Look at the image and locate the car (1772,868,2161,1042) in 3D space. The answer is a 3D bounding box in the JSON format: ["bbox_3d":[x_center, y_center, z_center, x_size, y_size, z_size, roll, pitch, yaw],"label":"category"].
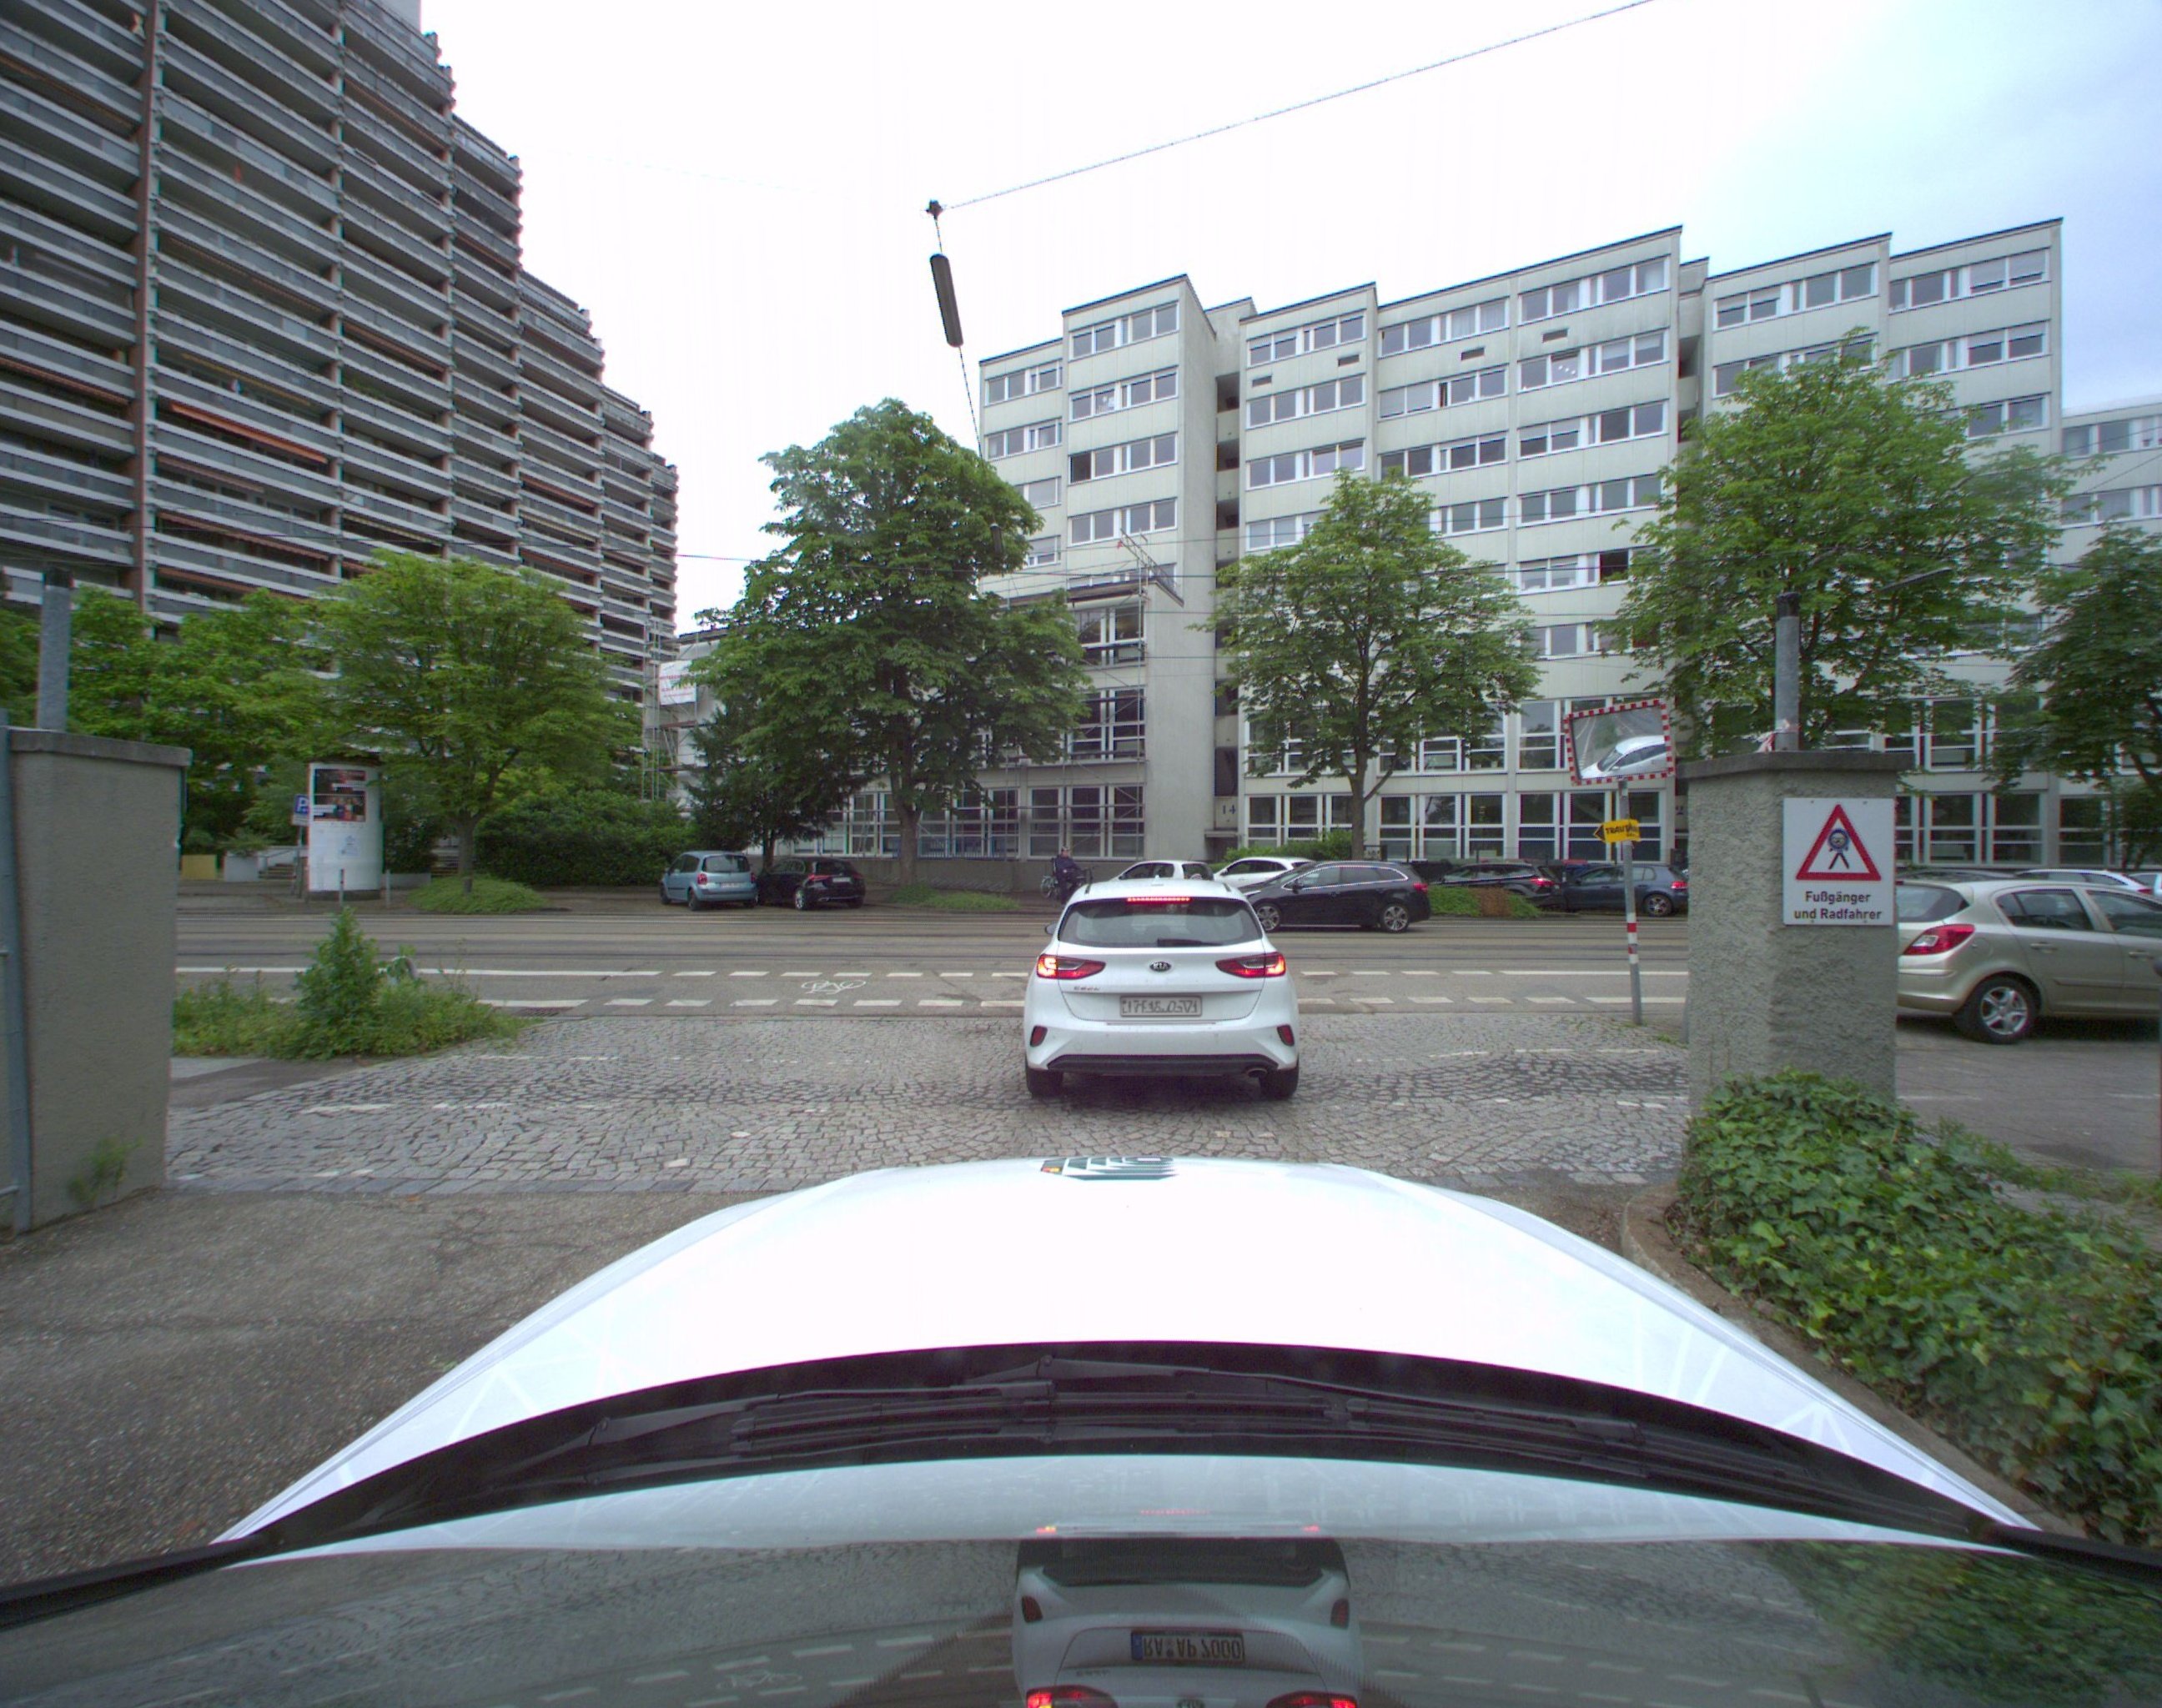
[{"bbox_3d":[9.268,0.906,8.011,3.570,1.501,1.665,0,0,0],"label":"car"}]

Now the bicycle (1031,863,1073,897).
[{"bbox_3d":[-1.039,0.938,29.847,0.638,1.074,2.325,0,2,22],"label":"bicycle"}]

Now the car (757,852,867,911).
[{"bbox_3d":[-7.580,0.721,22.810,1.628,1.511,3.295,0,-1,-45],"label":"car"}]

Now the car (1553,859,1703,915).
[{"bbox_3d":[15.590,0.897,23.315,1.425,1.474,3.348,0,-1,-44],"label":"car"}]

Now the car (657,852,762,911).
[{"bbox_3d":[-10.453,0.714,22.843,1.628,1.537,3.296,0,0,-45],"label":"car"}]

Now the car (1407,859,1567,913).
[{"bbox_3d":[11.916,0.893,24.044,3.904,1.474,1.684,-1,-1,42],"label":"car"}]

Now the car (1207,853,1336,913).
[{"bbox_3d":[5.466,0.795,23.610,1.565,1.618,3.367,0,-1,-42],"label":"car"}]

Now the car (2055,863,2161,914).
[{"bbox_3d":[31.585,1.002,24.145,1.425,1.474,3.348,0,0,-44],"label":"car"}]

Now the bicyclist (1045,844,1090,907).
[{"bbox_3d":[-0.373,0.572,22.426,0.839,1.698,0.886,1,0,-43],"label":"bicyclist"}]

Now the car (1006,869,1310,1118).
[{"bbox_3d":[0.613,0.897,6.767,1.767,1.433,3.983,-1,-2,5],"label":"car"}]

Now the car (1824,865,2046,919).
[{"bbox_3d":[25.139,1.078,24.238,4.441,1.474,1.425,-1,-3,42],"label":"car"}]

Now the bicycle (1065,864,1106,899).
[{"bbox_3d":[0.175,0.968,29.329,0.638,1.074,2.325,0,2,22],"label":"bicycle"}]

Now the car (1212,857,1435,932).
[{"bbox_3d":[5.048,0.817,17.335,4.229,1.490,1.822,0,0,-2],"label":"car"}]

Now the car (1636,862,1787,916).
[{"bbox_3d":[18.544,0.976,24.043,1.425,1.474,3.348,0,-1,-44],"label":"car"}]

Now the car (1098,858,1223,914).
[{"bbox_3d":[2.219,0.860,23.267,1.565,1.473,3.367,0,-1,-42],"label":"car"}]

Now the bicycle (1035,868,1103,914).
[{"bbox_3d":[-0.346,0.979,22.379,0.826,1.174,1.892,1,0,-43],"label":"bicycle"}]
